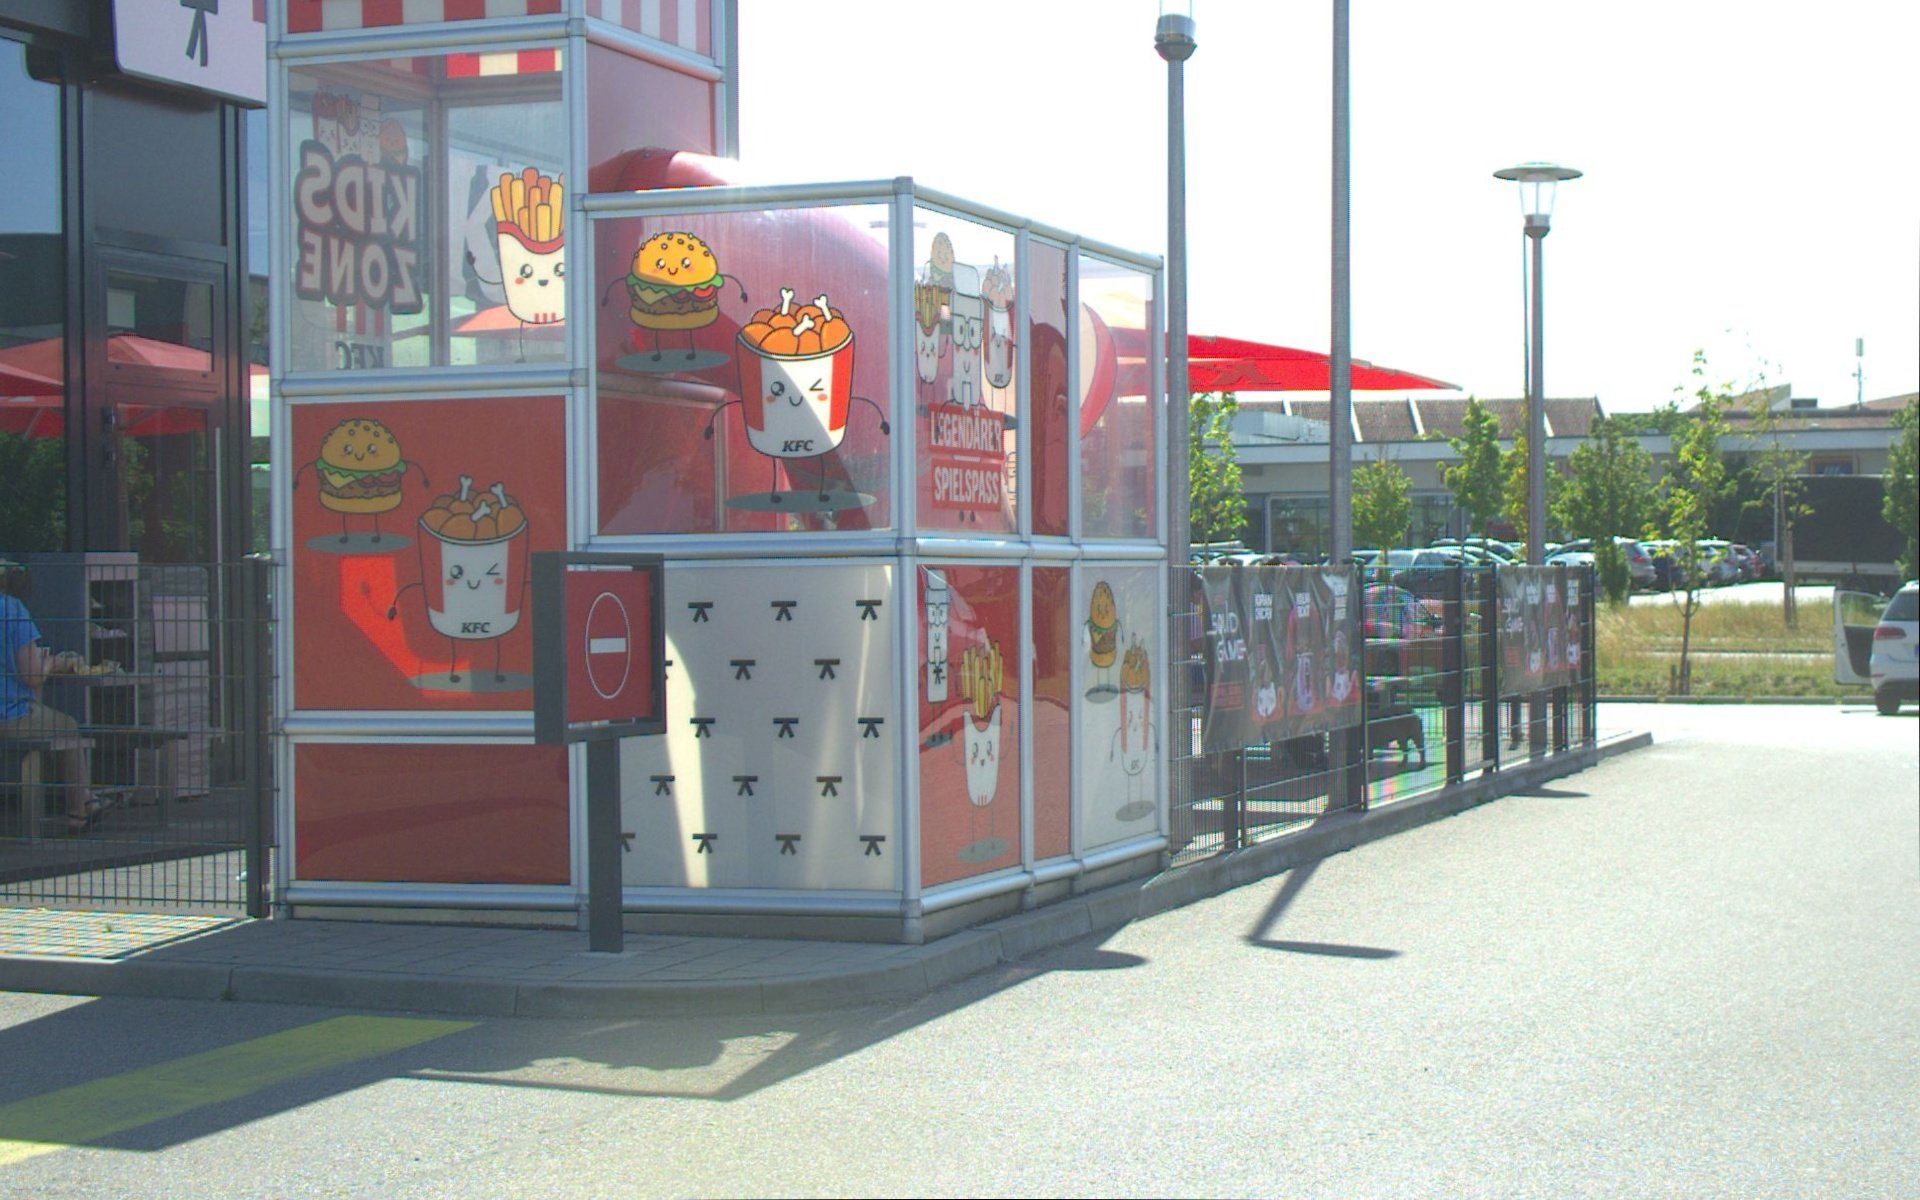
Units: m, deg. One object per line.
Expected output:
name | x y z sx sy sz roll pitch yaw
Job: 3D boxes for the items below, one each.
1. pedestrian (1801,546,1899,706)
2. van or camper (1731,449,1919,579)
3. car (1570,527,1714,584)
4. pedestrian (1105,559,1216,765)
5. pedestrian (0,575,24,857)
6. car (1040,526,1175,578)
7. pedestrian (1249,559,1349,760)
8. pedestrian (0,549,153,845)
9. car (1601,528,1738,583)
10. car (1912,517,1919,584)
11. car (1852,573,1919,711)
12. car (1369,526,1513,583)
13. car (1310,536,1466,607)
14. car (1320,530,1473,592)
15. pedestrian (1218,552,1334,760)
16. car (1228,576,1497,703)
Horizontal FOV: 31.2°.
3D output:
pedestrian | 10.207 0.295 39.407 0.992 1.803 0.725 0 -1 23
van or camper | 22.763 -2.073 83.874 2.412 3.091 8.054 0 1 -37
car | 22.470 -1.465 113.250 4.394 1.849 1.954 1 1 19
pedestrian | 1.257 0.380 21.588 0.683 1.269 0.551 0 1 3
pedestrian | -4.503 0.493 14.603 0.753 1.196 0.694 1 1 20
car | 5.398 -1.766 125.689 4.563 1.849 1.954 1 1 19
pedestrian | 2.188 0.376 22.228 0.612 1.269 0.624 0 1 3
pedestrian | -4.299 0.420 15.794 0.753 1.308 0.944 1 1 20
car | 24.534 -1.542 118.842 4.394 1.849 1.954 1 1 19
car | 30.906 -1.459 102.352 4.919 2.007 2.081 1 1 15
car | 11.374 0.466 38.319 1.830 1.464 4.475 0 -1 27
car | 15.931 -1.514 113.861 4.394 1.849 1.954 1 1 19
car | 11.516 -0.785 92.262 1.954 1.849 4.393 1 1 43
car | 13.493 -1.213 106.256 4.394 1.849 1.954 1 1 19
pedestrian | 1.967 0.339 21.493 0.683 1.269 0.841 0 1 3
car | 4.975 0.475 42.001 1.830 1.464 4.346 0 -1 28
